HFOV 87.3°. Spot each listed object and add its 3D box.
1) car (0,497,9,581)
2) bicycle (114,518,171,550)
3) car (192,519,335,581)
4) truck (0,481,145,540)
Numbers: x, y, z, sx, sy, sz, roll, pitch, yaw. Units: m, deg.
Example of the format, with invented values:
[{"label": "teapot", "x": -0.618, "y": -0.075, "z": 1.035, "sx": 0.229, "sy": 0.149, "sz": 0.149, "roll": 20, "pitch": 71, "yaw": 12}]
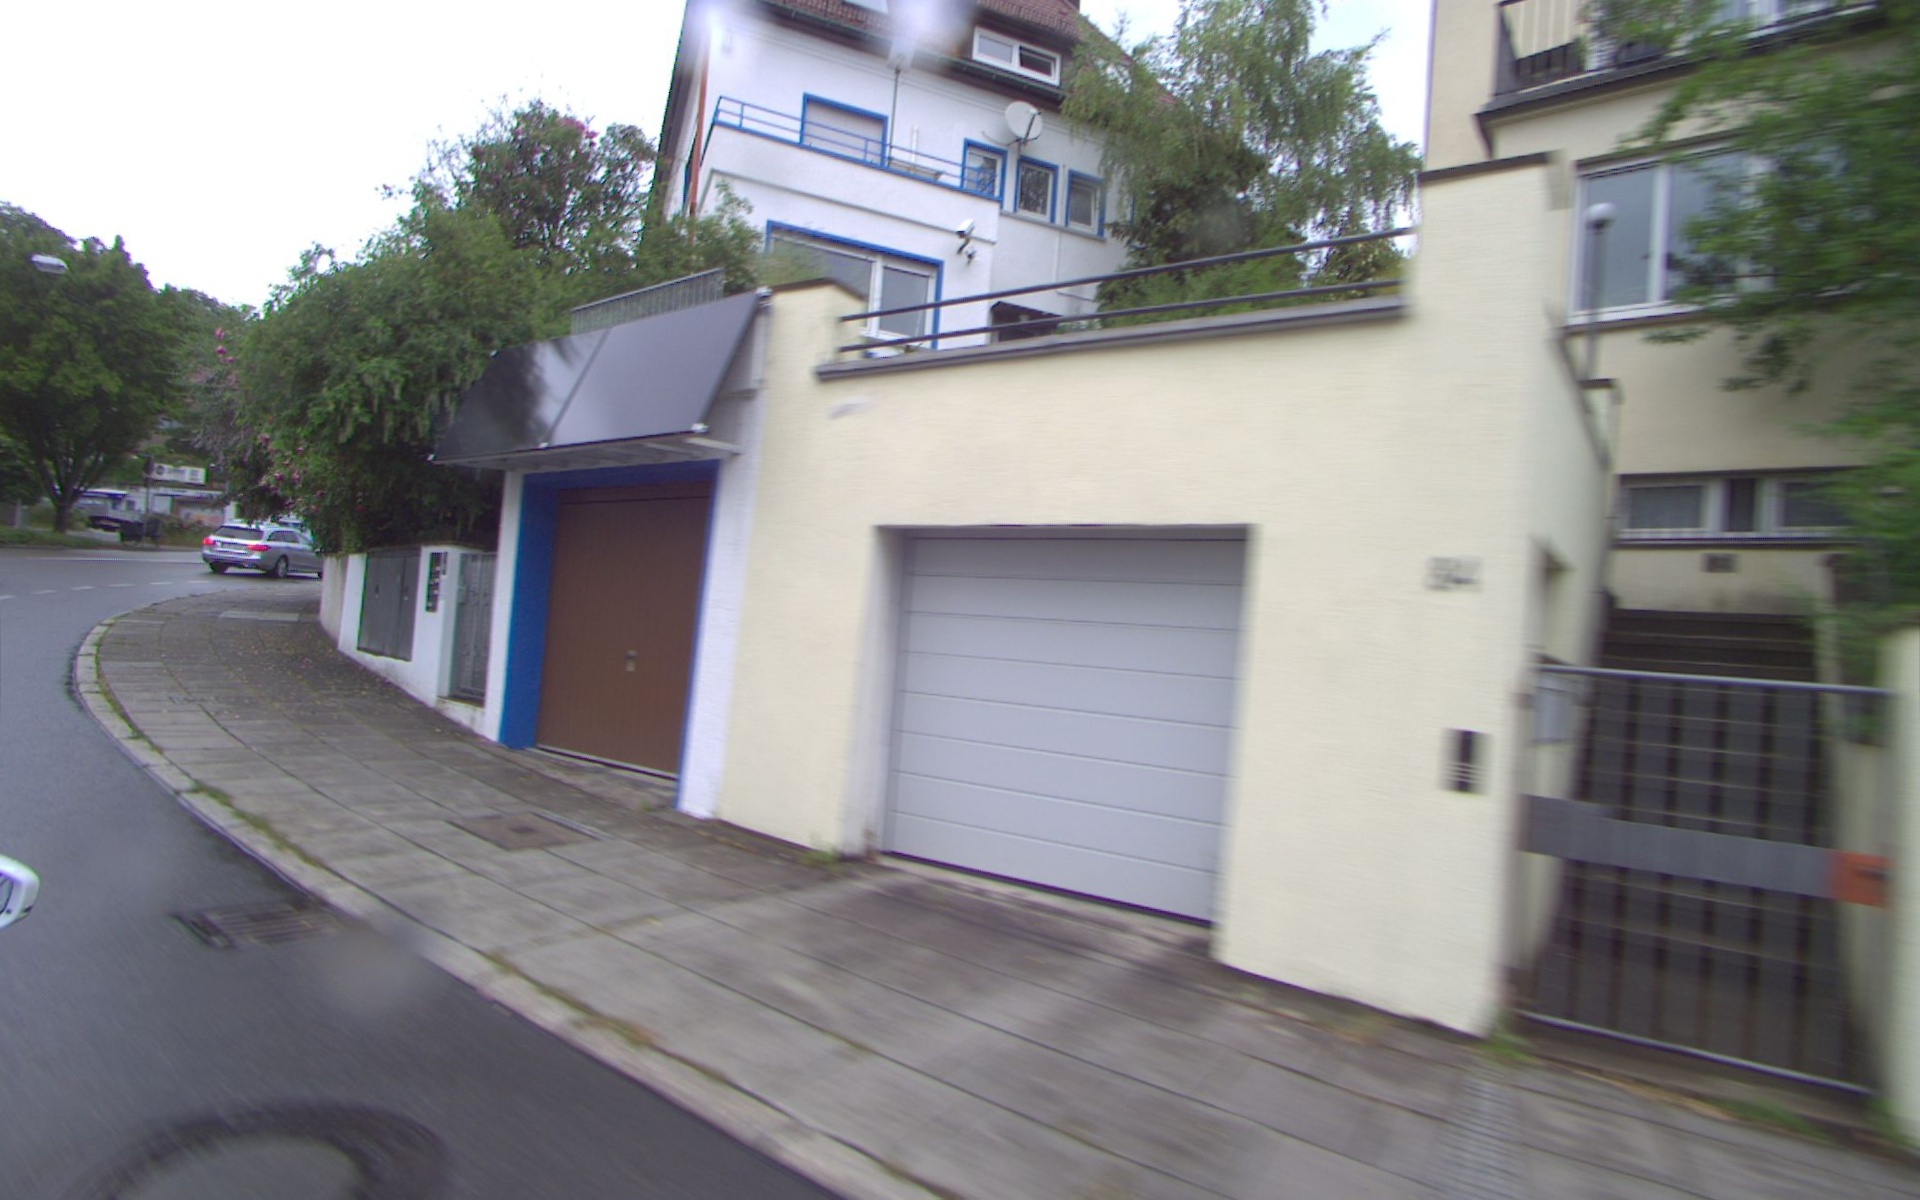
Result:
[{"label": "car", "x": -16.379, "y": -1.040, "z": 15.360, "sx": 1.799, "sy": 1.457, "sz": 4.046, "roll": 7, "pitch": 0, "yaw": -32}, {"label": "bicycle", "x": -31.501, "y": -2.545, "z": 38.787, "sx": 0.414, "sy": 1.099, "sz": 1.962, "roll": 6, "pitch": 2, "yaw": 4}, {"label": "car", "x": -20.189, "y": -1.387, "z": 29.371, "sx": 1.787, "sy": 1.377, "sz": 3.994, "roll": 8, "pitch": -1, "yaw": -10}, {"label": "truck", "x": -51.586, "y": -5.180, "z": 58.244, "sx": 6.684, "sy": 2.296, "sz": 2.315, "roll": 7, "pitch": -1, "yaw": -1}]
